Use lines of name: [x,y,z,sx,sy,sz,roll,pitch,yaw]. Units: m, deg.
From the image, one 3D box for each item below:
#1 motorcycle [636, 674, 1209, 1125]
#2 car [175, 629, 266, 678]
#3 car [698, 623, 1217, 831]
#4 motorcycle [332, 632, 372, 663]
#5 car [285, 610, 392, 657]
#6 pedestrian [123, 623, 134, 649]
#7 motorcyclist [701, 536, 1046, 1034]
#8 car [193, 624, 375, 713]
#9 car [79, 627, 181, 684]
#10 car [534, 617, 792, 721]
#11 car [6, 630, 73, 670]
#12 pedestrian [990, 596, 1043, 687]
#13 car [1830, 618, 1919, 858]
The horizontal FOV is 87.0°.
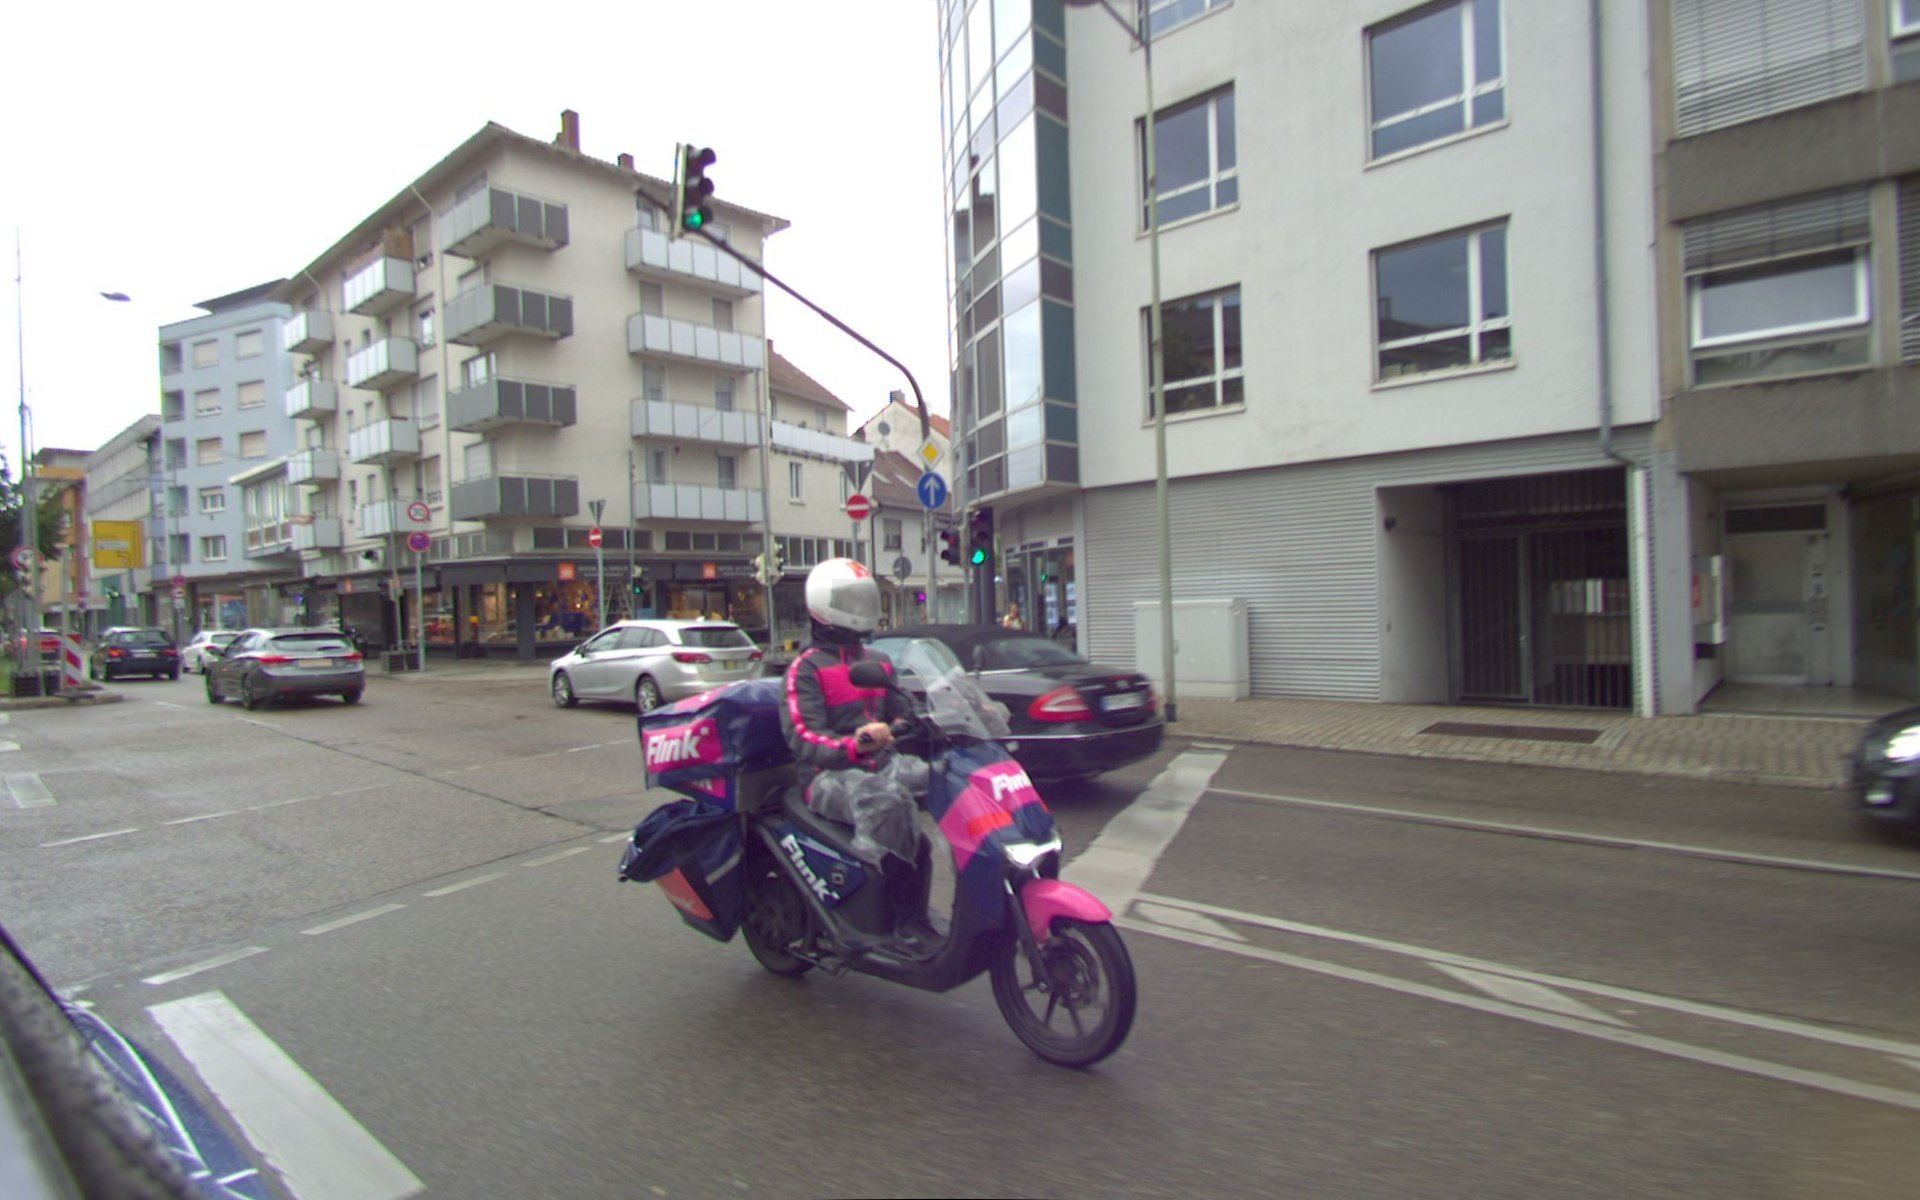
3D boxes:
motorcycle: [-0.229,0.896,3.651,2.095,1.200,0.582,-2,-2,32]
car: [-25.566,1.807,34.940,4.284,1.535,1.753,-2,-1,43]
car: [-0.225,0.915,9.089,4.600,1.376,1.806,-1,-1,40]
motorcycle: [-23.672,1.833,39.367,2.195,1.095,0.661,-1,2,42]
car: [-29.319,1.543,47.795,1.895,2.070,3.943,-2,0,43]
pedestrian: [-55.129,2.371,67.112,0.531,1.701,0.506,1,0,42]
motorcyclist: [-0.292,0.571,3.689,0.862,1.505,0.907,-2,-2,32]
car: [-13.089,1.227,19.482,4.647,1.485,1.833,-1,-1,42]
car: [-25.186,1.632,30.649,4.283,1.555,1.810,-2,-1,43]
car: [-5.010,1.057,16.751,4.601,1.485,1.909,-2,-3,41]
car: [-40.090,2.125,44.042,4.091,1.606,1.827,-2,-1,43]
pedestrian: [1.035,0.741,18.483,0.623,1.620,0.824,-2,-1,30]
car: [7.384,0.801,5.728,3.589,1.410,1.706,-1,-2,38]
